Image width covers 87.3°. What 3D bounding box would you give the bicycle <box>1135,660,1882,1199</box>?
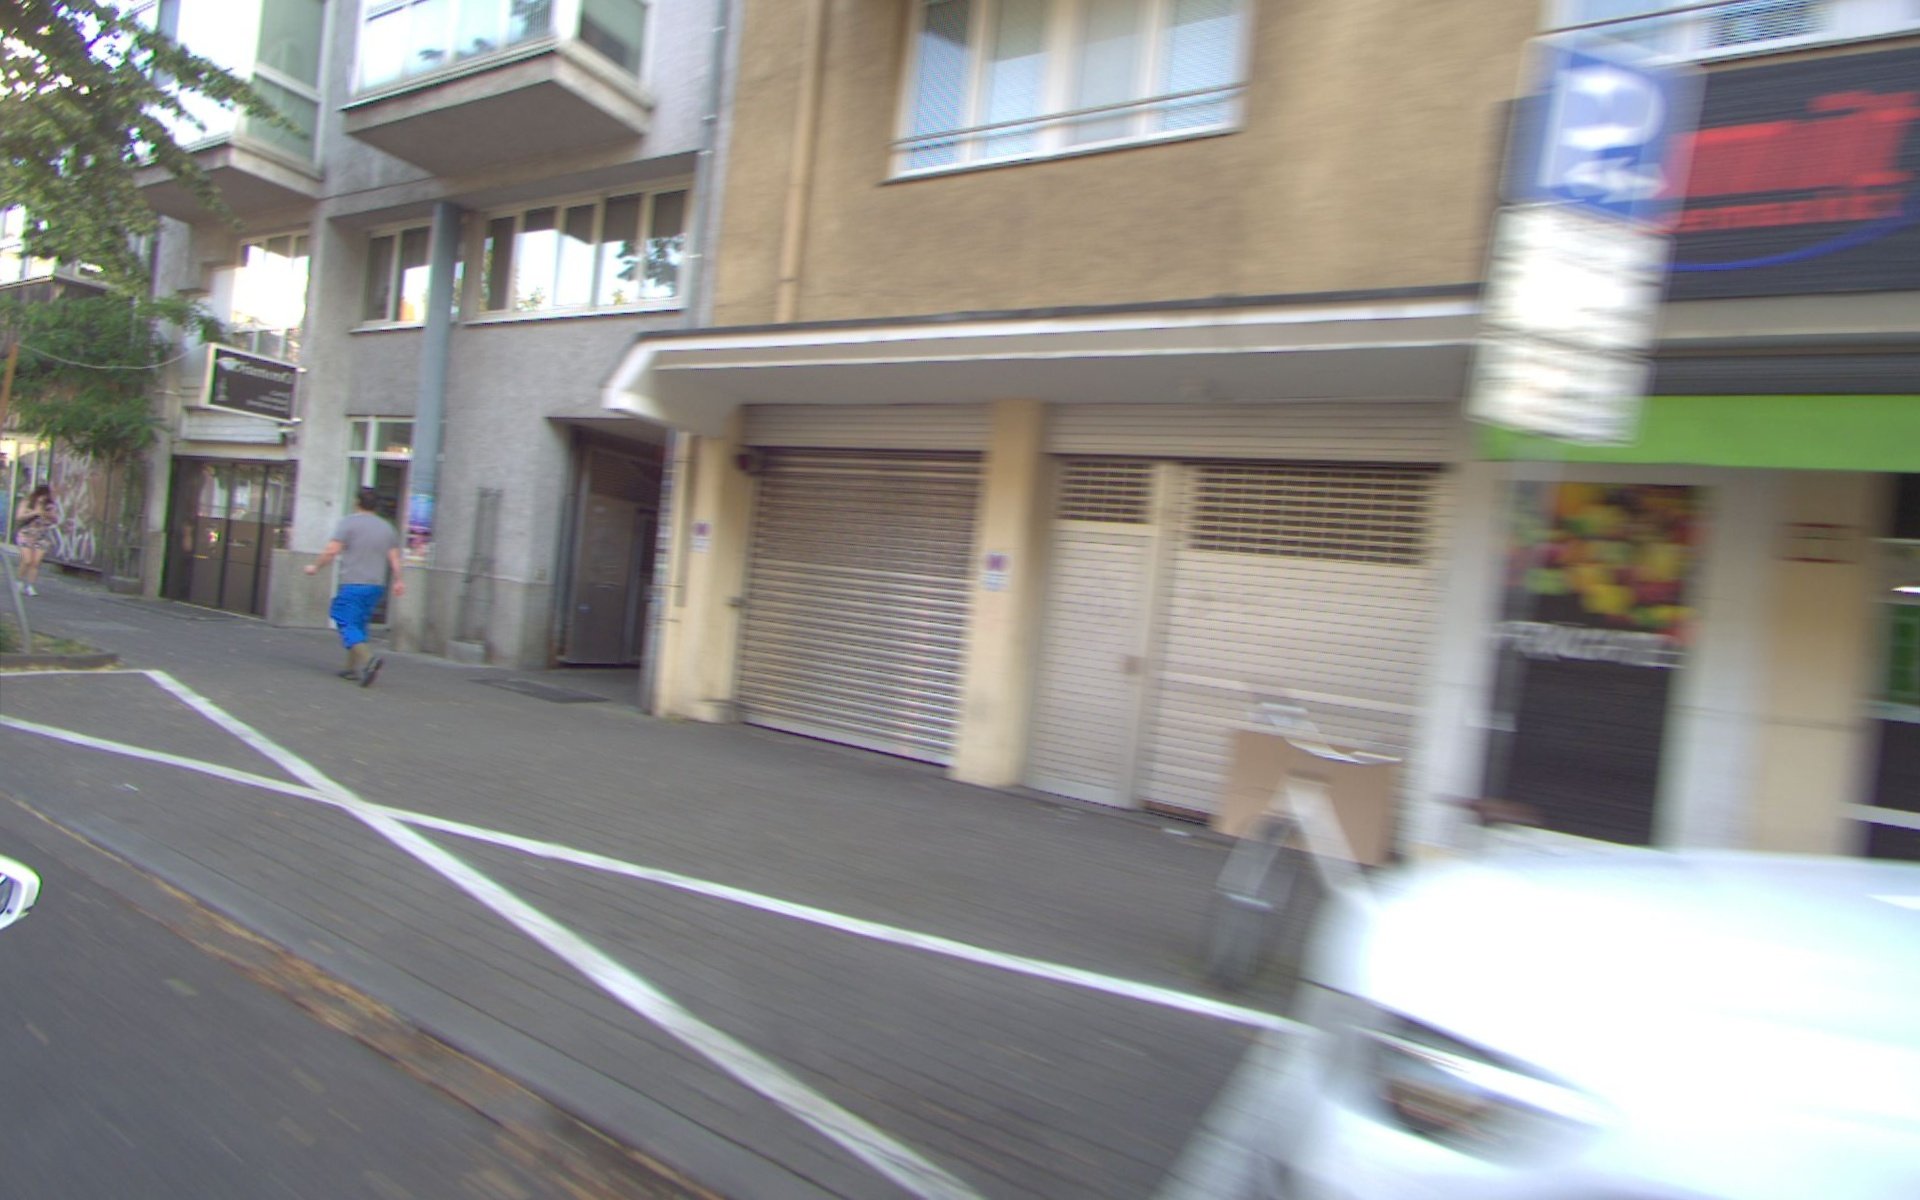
[{"bbox_3d":[1.777,0.986,3.606,2.016,1.279,0.775,7,3,32],"label":"bicycle"}]

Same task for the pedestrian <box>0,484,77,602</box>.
[{"bbox_3d":[-12.968,-0.790,14.101,0.760,1.545,0.611,7,2,31],"label":"pedestrian"}]

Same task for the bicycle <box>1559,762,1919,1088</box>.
[{"bbox_3d":[3.385,1.295,4.098,1.523,0.970,0.459,7,2,31],"label":"bicycle"}]

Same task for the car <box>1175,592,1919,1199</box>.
[{"bbox_3d":[2.841,1.033,1.368,4.614,1.595,1.880,7,2,31],"label":"car"}]

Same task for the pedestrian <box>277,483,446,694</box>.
[{"bbox_3d":[-5.616,-0.106,9.456,0.979,1.817,0.857,7,1,28],"label":"pedestrian"}]
